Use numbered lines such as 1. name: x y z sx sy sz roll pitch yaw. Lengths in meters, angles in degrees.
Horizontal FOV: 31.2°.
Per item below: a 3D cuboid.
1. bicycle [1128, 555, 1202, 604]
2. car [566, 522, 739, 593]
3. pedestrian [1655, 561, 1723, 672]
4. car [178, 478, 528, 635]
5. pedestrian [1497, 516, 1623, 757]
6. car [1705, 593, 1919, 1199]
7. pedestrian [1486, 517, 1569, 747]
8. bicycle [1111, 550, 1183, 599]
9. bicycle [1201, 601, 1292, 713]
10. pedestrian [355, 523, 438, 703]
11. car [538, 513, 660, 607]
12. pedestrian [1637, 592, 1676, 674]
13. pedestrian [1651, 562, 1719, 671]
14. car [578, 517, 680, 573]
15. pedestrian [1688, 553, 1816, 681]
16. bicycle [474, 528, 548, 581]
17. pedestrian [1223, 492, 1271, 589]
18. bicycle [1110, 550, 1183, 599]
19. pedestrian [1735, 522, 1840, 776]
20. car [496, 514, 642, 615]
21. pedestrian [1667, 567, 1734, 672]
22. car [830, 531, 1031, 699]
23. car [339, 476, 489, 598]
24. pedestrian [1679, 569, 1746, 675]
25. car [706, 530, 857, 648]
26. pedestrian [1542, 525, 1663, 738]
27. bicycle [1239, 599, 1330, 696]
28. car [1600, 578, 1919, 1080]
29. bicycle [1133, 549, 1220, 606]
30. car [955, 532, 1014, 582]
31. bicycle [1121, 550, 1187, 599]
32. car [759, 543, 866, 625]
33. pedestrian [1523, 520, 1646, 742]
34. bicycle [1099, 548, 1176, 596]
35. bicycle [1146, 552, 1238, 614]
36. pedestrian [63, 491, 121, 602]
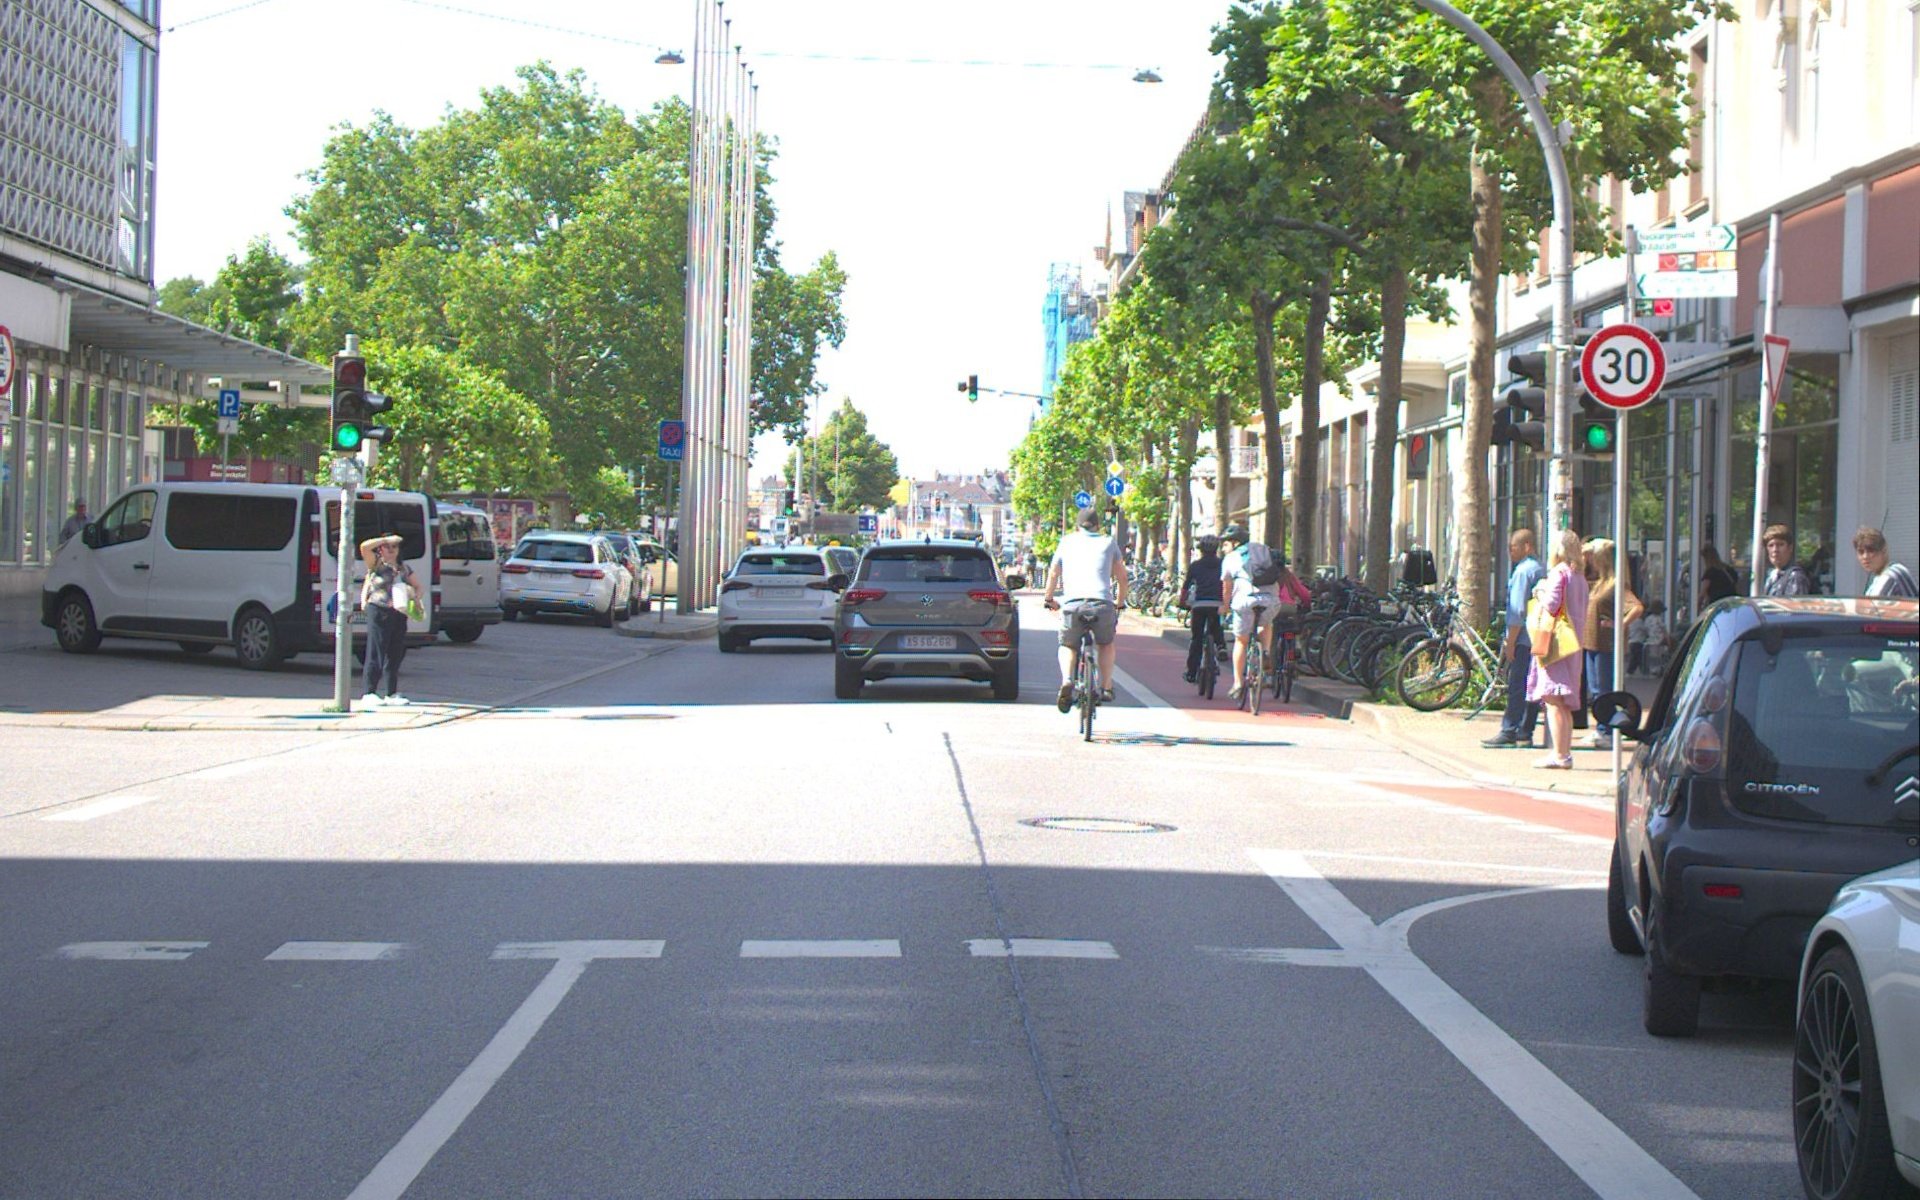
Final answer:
1. bicycle: 4.880 -0.493 81.833 1.728 1.105 0.477 2 1 3
2. car: -7.471 -1.072 83.897 1.894 1.536 4.855 3 3 27
3. pedestrian: 8.947 0.197 42.214 0.681 1.333 0.532 1 1 -2
4. car: -8.047 -0.599 45.406 4.441 1.903 2.005 3 2 37
5. pedestrian: 4.370 0.269 25.078 0.639 1.703 0.790 -3 -1 -4
6. car: 2.989 0.794 6.417 1.952 1.420 4.887 3 1 -1
7. pedestrian: 4.511 0.245 27.353 0.452 1.789 0.608 3 1 -2
8. bicycle: 4.888 -0.671 89.866 1.844 1.197 0.608 2 1 3
9. bicycle: 2.670 0.514 32.231 0.630 0.976 2.089 1 1 -1
10. pedestrian: -5.031 0.110 30.670 0.639 1.554 0.681 3 1 -12
11. car: -6.535 -0.742 62.698 1.761 1.594 4.710 2 1 -1
12. pedestrian: 8.347 0.395 41.196 0.364 0.965 0.437 2 1 2
13. pedestrian: 9.025 0.198 42.811 0.681 1.328 0.532 2 1 -2
14. car: -12.507 -2.071 130.336 1.861 1.948 4.755 2 0 21
15. pedestrian: 8.956 0.193 38.891 1.233 1.417 0.790 1 0 -2
16. bicycle: -11.494 -1.169 88.049 1.781 1.304 0.663 2 1 -3
17. pedestrian: 5.146 -1.077 61.747 0.639 1.683 0.843 4 2 -2
18. bicycle: 4.852 -0.671 89.360 1.844 1.197 0.545 2 1 3
19. pedestrian: 6.167 0.359 25.634 0.639 1.836 0.614 3 0 12
20. car: -6.422 -0.615 56.901 1.799 1.518 4.739 3 1 0
21. pedestrian: 8.975 0.233 41.670 0.681 1.249 0.532 0 1 -2
22. car: -0.349 0.104 34.187 1.845 1.554 4.001 1 1 -2
23. car: -9.541 -1.101 60.384 1.832 2.007 4.685 2 1 0
24. pedestrian: 8.990 0.263 41.072 0.639 1.249 0.609 0 0 -2
25. car: -2.433 -0.187 47.707 1.845 1.554 4.000 1 1 0
26. pedestrian: 5.217 0.248 27.953 0.787 1.685 0.641 2 1 -2
27. bicycle: 3.328 0.477 35.420 0.600 0.922 2.088 2 0 -3
28. car: 3.173 0.710 12.130 1.629 1.473 3.730 2 0 9
29. bicycle: 4.956 -0.524 78.665 1.931 1.244 0.736 2 1 3
30. car: 0.838 -1.531 121.164 1.845 1.662 4.000 3 1 -2
31. bicycle: 4.962 -0.649 88.140 1.649 1.197 0.474 2 1 3
32. car: -2.717 -0.325 64.017 1.845 1.444 4.000 1 1 -1
33. pedestrian: 5.194 0.250 28.628 0.787 1.789 0.641 3 1 -2
34. bicycle: 4.860 -0.763 94.279 1.932 1.253 0.705 2 1 -19
35. bicycle: 4.832 -0.352 71.568 1.840 1.182 0.670 3 1 5
36. pedestrian: -12.288 -0.763 48.661 0.678 1.554 0.641 1 1 -5
